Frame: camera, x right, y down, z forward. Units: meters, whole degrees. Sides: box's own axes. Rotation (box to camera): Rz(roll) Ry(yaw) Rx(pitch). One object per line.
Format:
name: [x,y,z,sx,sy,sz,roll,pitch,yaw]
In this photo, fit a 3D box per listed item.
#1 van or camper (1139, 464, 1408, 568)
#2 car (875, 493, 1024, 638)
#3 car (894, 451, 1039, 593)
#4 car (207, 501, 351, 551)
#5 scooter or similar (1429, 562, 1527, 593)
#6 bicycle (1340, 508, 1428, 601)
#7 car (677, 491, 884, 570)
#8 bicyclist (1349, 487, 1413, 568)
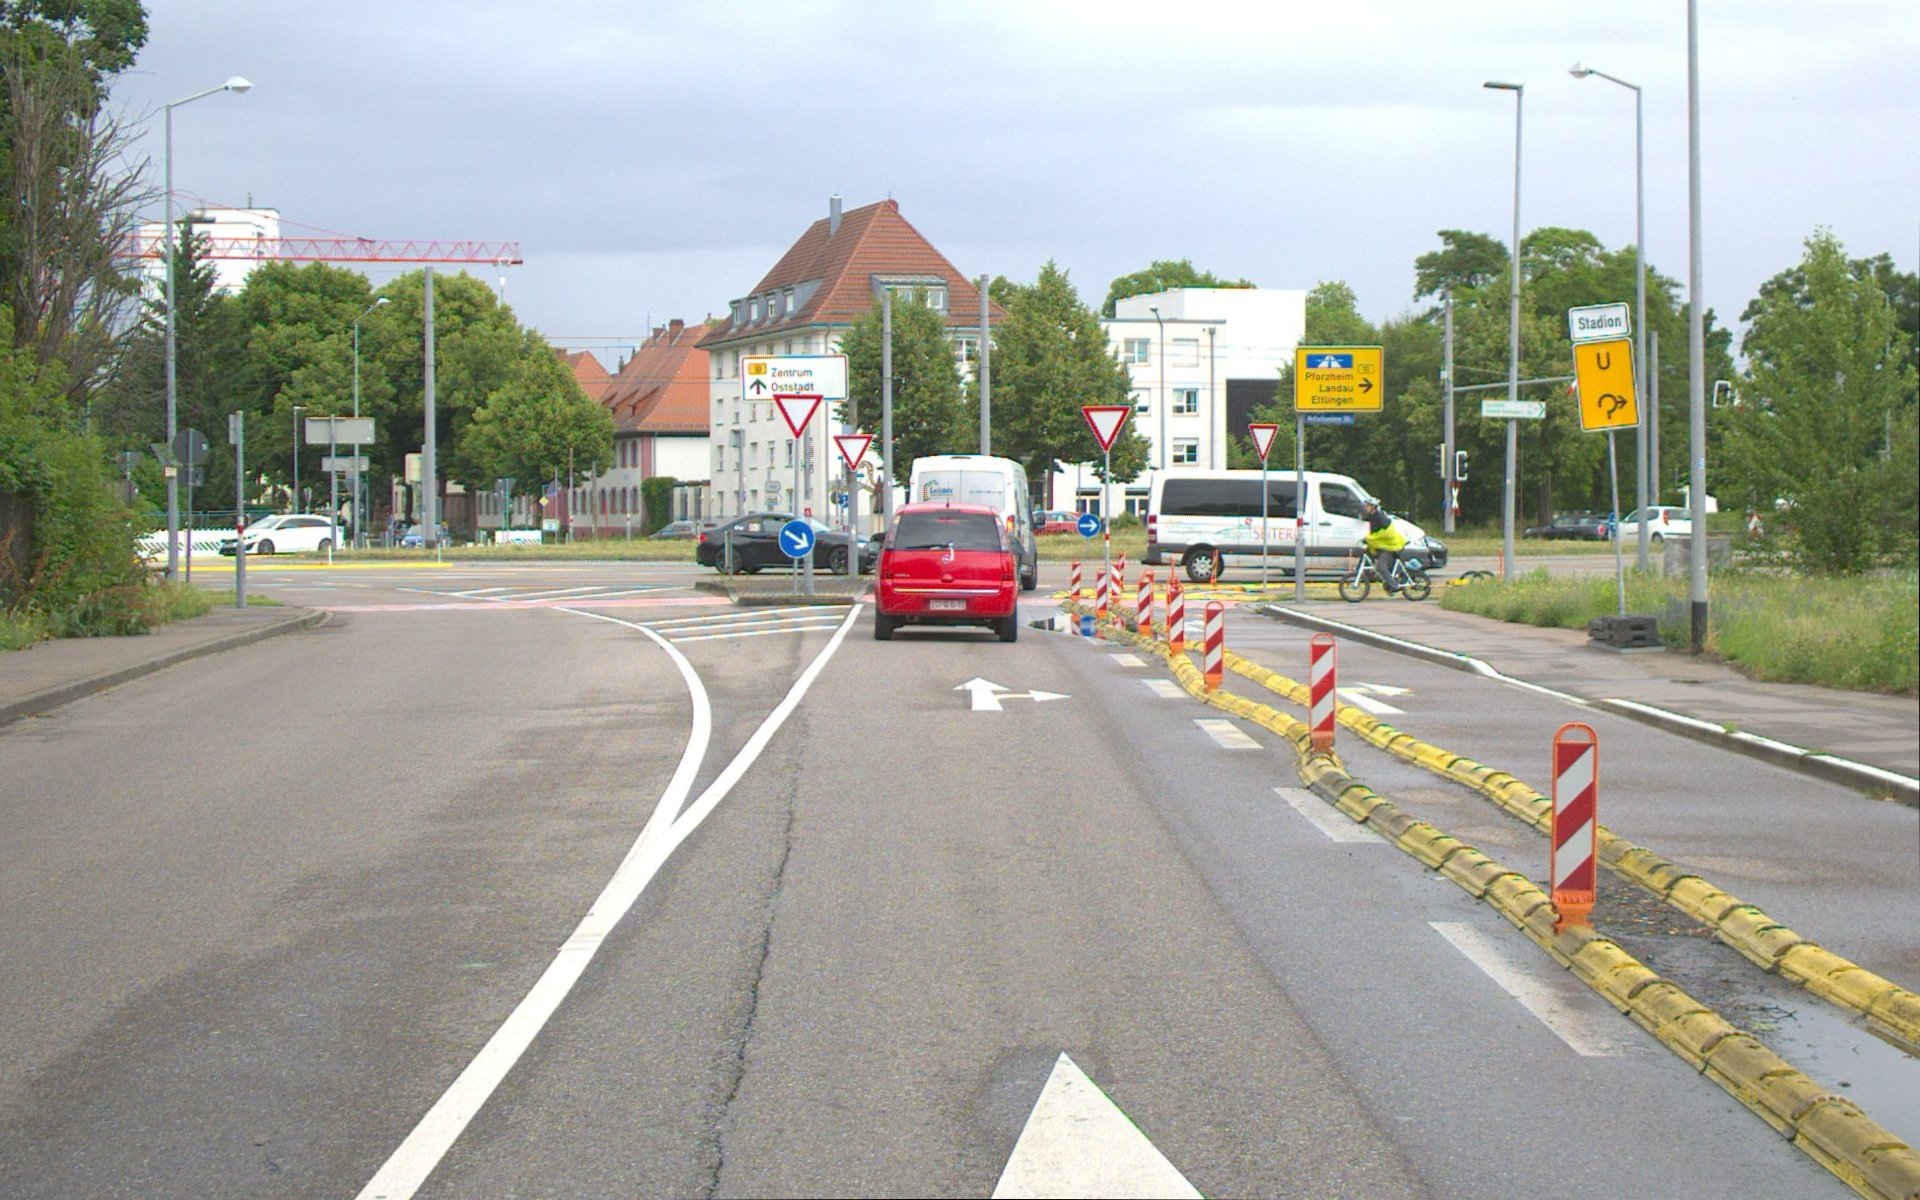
van or camper: [6.560,-1.753,71.919,5.535,2.108,2.000,0,1,6]
car: [-0.121,-0.441,41.127,1.673,1.635,3.627,1,1,0]
car: [0.166,-1.469,64.507,2.195,2.531,4.961,1,1,6]
car: [-23.042,-2.515,116.443,1.998,1.629,4.666,1,2,36]
scooter or similar: [8.997,-0.391,59.729,1.607,0.502,0.924,0,1,3]
bicycle: [7.377,-0.799,59.809,1.477,1.606,0.606,0,1,3]
car: [-4.064,-1.588,78.171,4.362,1.744,1.999,0,1,10]
bicyclist: [7.322,-1.259,59.790,1.062,1.396,0.615,0,1,3]
